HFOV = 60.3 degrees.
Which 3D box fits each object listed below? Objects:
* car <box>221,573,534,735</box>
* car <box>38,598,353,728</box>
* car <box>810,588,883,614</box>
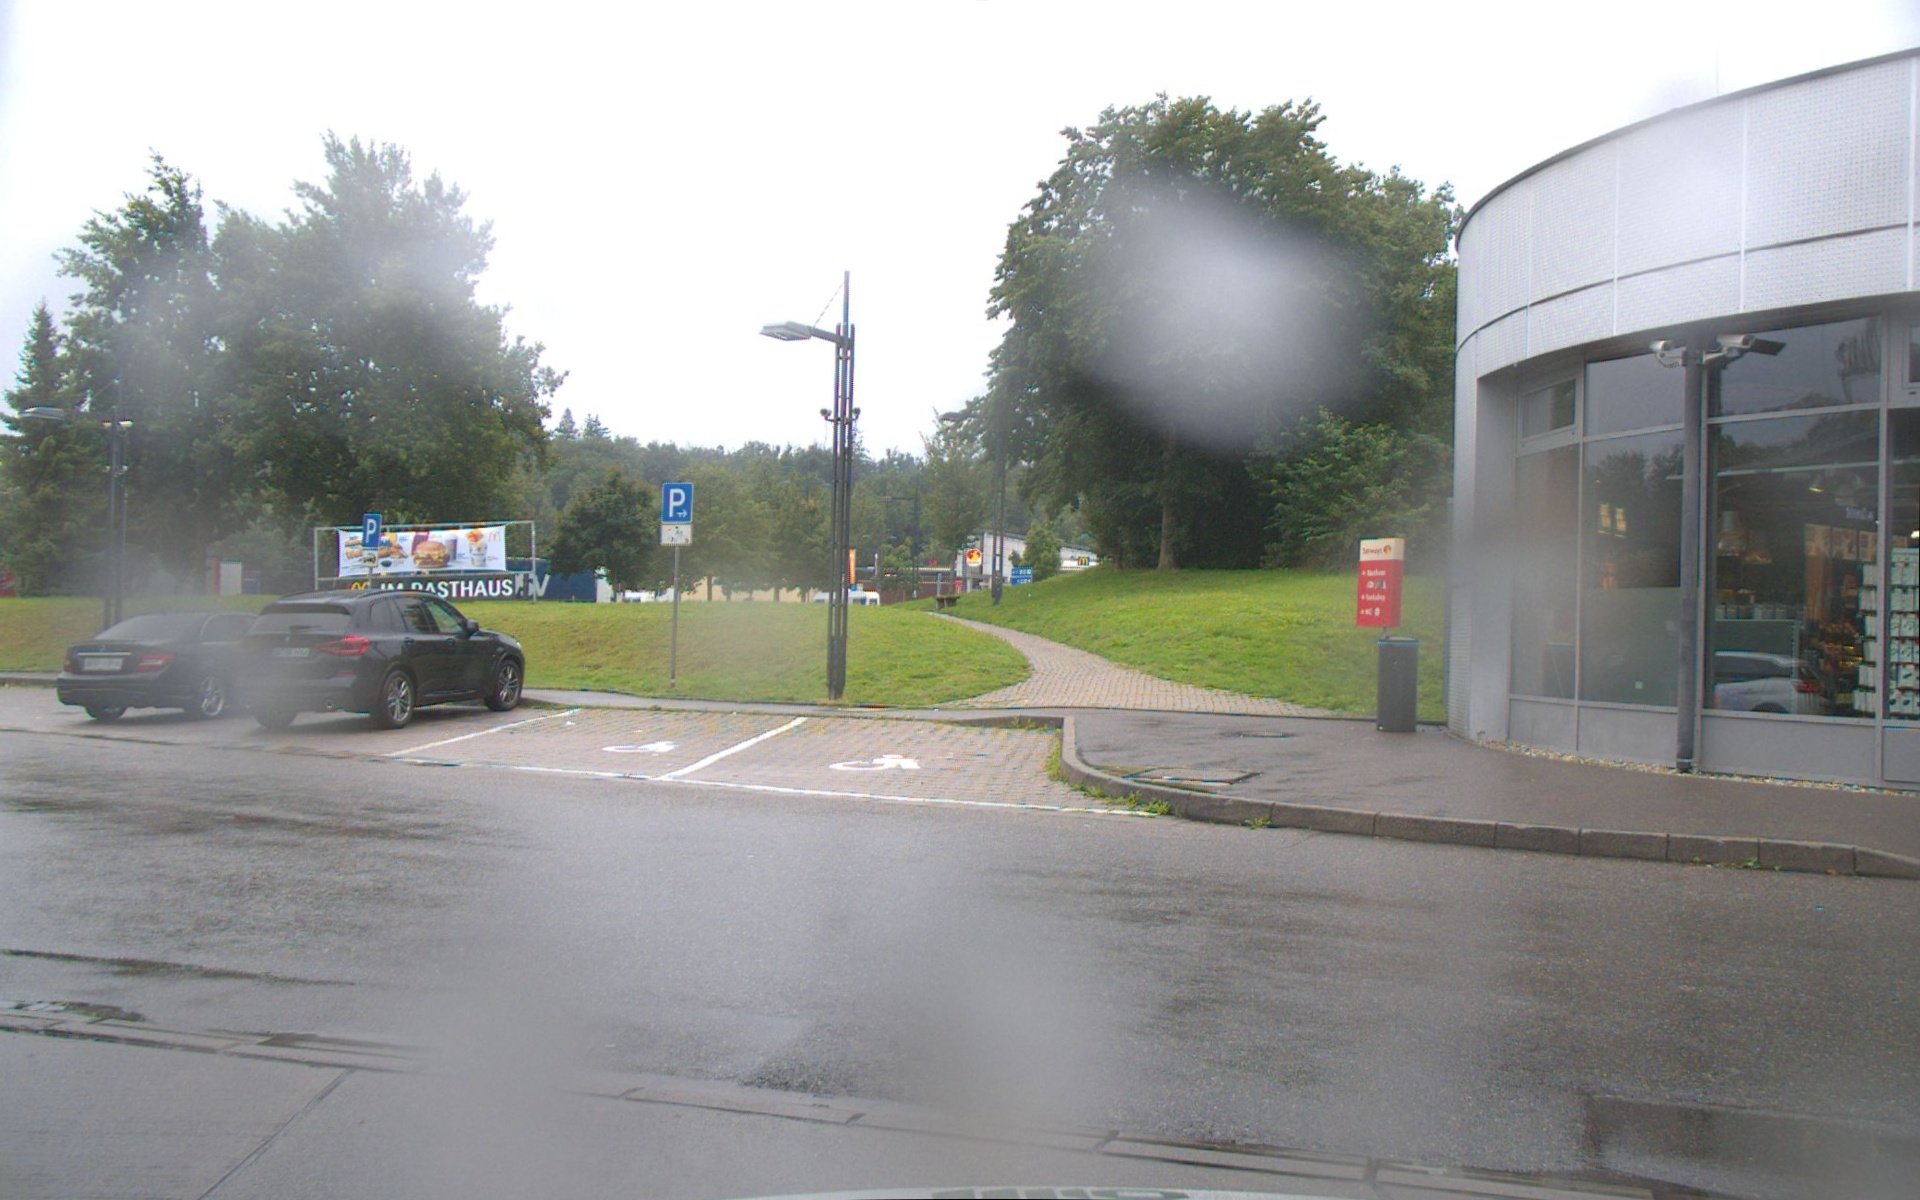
[{"bbox_3d":[-7.329,0.610,21.347,1.844,1.860,4.417,0,0,11],"label":"car"},{"bbox_3d":[-10.355,0.782,22.786,1.844,1.592,4.189,0,0,11],"label":"car"},{"bbox_3d":[-9.154,0.062,133.656,5.310,2.049,2.456,1,0,19],"label":"car"}]
